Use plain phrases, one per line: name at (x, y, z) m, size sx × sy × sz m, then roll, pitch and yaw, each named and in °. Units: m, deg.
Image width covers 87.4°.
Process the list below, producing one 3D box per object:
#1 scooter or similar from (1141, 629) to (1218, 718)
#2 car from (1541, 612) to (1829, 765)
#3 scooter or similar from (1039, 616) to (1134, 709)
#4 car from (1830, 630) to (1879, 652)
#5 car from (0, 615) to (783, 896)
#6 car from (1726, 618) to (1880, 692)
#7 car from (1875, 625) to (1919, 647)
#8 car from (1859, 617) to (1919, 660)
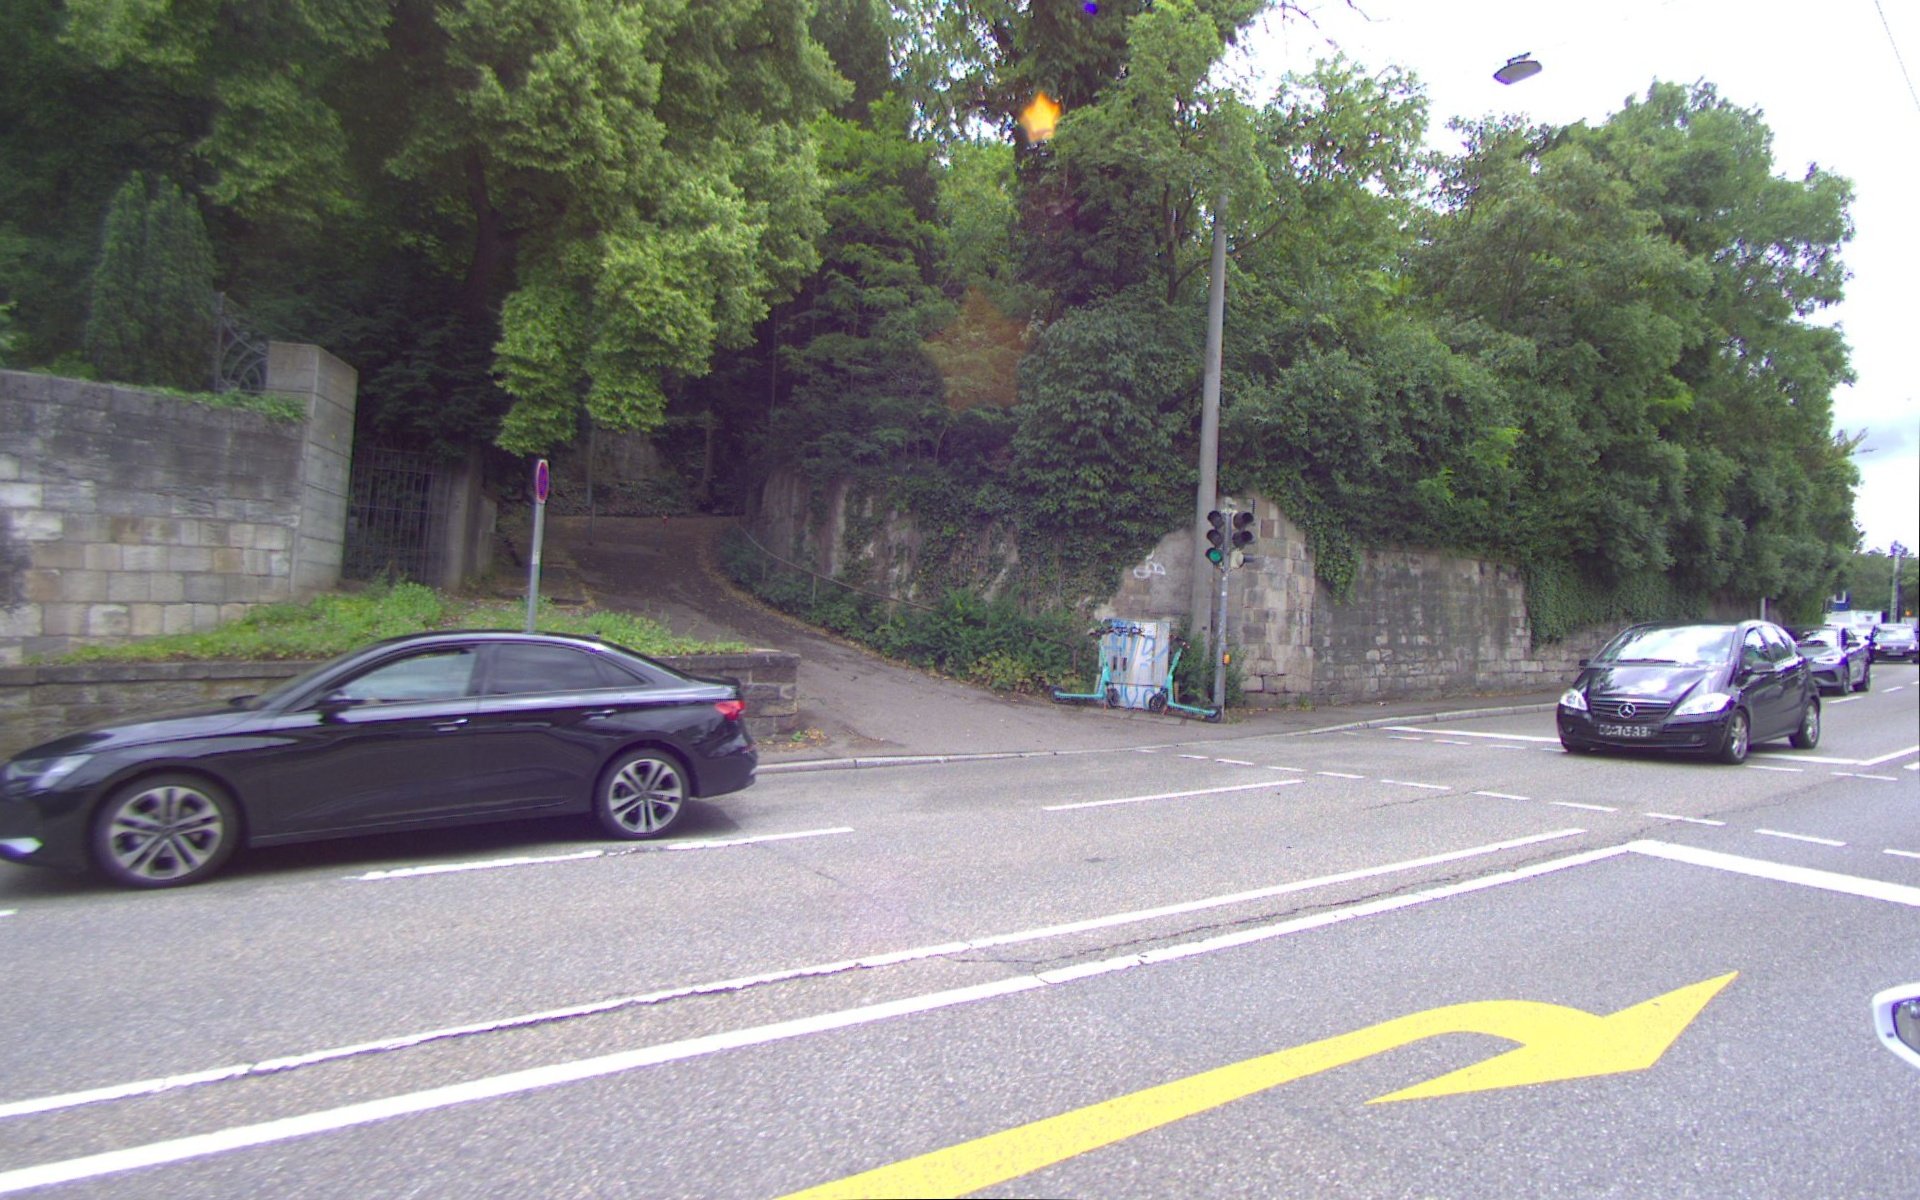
scooter or similar at (3.425, 1.131, 15.652) m, size 1.076 × 1.254 × 0.434 m, roll 4°, pitch 2°, yaw 14°
car at (8.869, 0.992, 12.227) m, size 3.643 × 1.587 × 1.743 m, roll 2°, pitch -3°, yaw -35°
scooter or similar at (2.000, 0.980, 15.905) m, size 1.323 × 1.253 × 0.434 m, roll 8°, pitch 3°, yaw 6°
car at (61.174, 2.822, 68.761) m, size 1.757 × 1.485 × 4.092 m, roll -2°, pitch -3°, yaw 31°
car at (-3.590, 0.864, 6.952) m, size 4.378 × 1.437 × 1.674 m, roll 1°, pitch -3°, yaw -31°
car at (20.450, 1.322, 24.316) m, size 4.437 × 1.629 × 1.979 m, roll 2°, pitch -4°, yaw -38°
car at (78.141, 2.967, 83.741) m, size 1.813 × 1.722 × 3.995 m, roll 0°, pitch -1°, yaw 27°
car at (42.632, 1.755, 45.786) m, size 4.211 × 1.870 × 1.730 m, roll 2°, pitch -3°, yaw -38°
